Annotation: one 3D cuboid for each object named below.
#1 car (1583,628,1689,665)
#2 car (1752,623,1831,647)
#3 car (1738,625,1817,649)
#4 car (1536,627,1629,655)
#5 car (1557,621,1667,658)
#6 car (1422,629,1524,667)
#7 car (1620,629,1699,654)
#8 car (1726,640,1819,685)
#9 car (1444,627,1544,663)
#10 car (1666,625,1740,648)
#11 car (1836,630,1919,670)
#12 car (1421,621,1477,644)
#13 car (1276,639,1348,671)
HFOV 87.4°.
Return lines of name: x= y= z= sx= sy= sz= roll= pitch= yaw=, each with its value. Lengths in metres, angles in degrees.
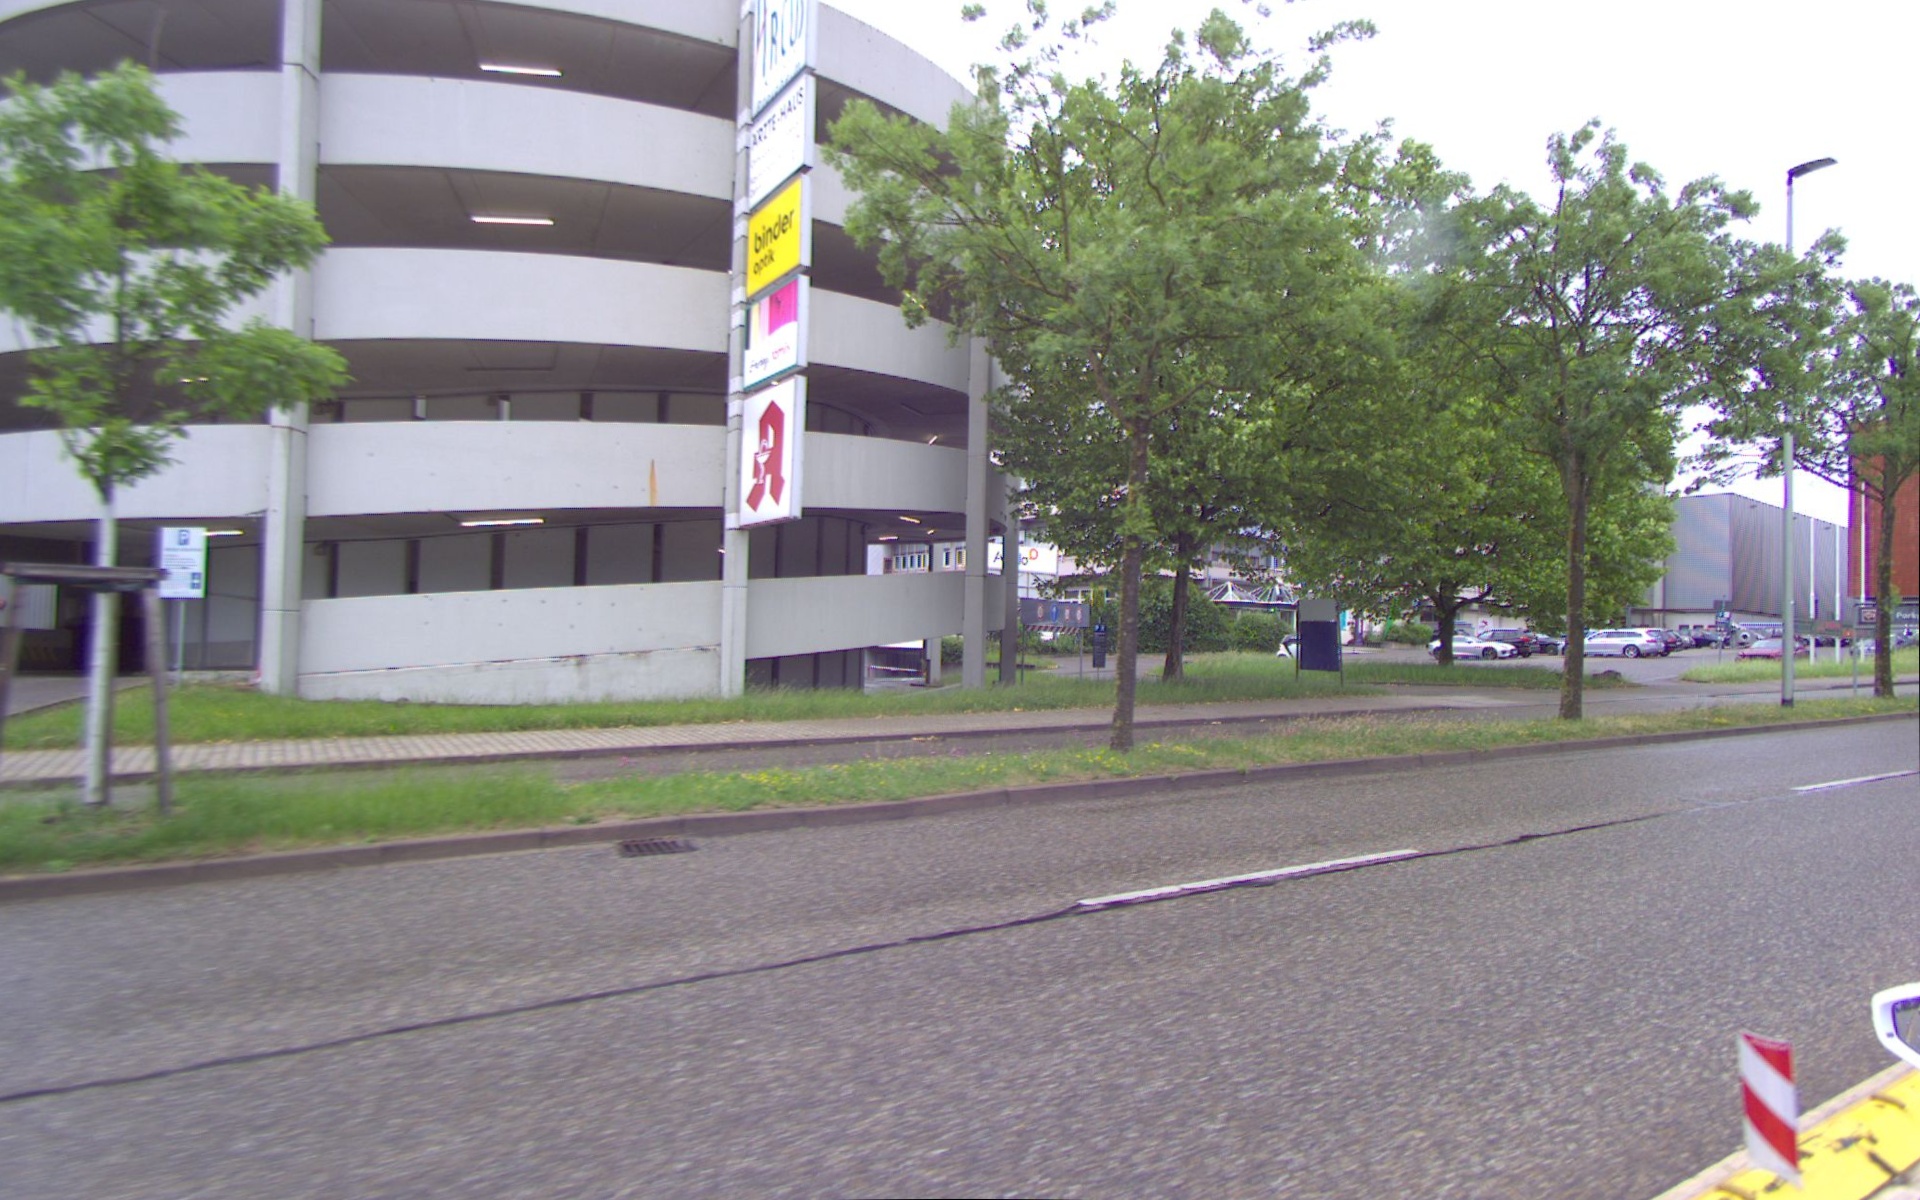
car: x=36.969 y=2.481 z=55.021 sx=1.883 sy=1.769 sz=4.465 roll=-1 pitch=1 yaw=-37
car: x=60.053 y=2.525 z=72.610 sx=1.802 sy=1.530 sz=4.159 roll=-1 pitch=1 yaw=-37
car: x=58.047 y=2.587 z=71.369 sx=1.802 sy=1.530 sz=4.078 roll=-1 pitch=1 yaw=-37
car: x=38.848 y=2.542 z=62.759 sx=2.006 sy=1.530 sz=4.575 roll=-1 pitch=1 yaw=-37
car: x=34.627 y=2.062 z=53.441 sx=1.949 sy=1.769 sz=4.564 roll=-1 pitch=1 yaw=-37
car: x=27.758 y=2.568 z=54.440 sx=1.951 sy=1.769 sz=4.559 roll=-1 pitch=1 yaw=-41
car: x=49.792 y=2.938 z=71.572 sx=1.830 sy=1.530 sz=4.244 roll=-1 pitch=1 yaw=-37
car: x=35.022 y=2.632 z=43.263 sx=4.664 sy=1.630 sz=1.920 roll=0 pitch=1 yaw=-35
car: x=29.929 y=2.503 z=56.374 sx=2.116 sy=1.769 sz=4.559 roll=-1 pitch=1 yaw=-41
car: x=55.343 y=2.664 z=74.863 sx=1.802 sy=1.530 sz=4.078 roll=-1 pitch=1 yaw=-37
car: x=46.919 y=2.488 z=51.301 sx=4.892 sy=1.786 sz=2.027 roll=0 pitch=1 yaw=-33
car: x=41.540 y=2.726 z=85.448 sx=1.783 sy=1.755 sz=3.959 roll=-1 pitch=1 yaw=-36
car: x=16.128 y=2.519 z=46.120 sx=1.596 sy=1.383 sz=2.674 roll=-1 pitch=-2 yaw=-39
